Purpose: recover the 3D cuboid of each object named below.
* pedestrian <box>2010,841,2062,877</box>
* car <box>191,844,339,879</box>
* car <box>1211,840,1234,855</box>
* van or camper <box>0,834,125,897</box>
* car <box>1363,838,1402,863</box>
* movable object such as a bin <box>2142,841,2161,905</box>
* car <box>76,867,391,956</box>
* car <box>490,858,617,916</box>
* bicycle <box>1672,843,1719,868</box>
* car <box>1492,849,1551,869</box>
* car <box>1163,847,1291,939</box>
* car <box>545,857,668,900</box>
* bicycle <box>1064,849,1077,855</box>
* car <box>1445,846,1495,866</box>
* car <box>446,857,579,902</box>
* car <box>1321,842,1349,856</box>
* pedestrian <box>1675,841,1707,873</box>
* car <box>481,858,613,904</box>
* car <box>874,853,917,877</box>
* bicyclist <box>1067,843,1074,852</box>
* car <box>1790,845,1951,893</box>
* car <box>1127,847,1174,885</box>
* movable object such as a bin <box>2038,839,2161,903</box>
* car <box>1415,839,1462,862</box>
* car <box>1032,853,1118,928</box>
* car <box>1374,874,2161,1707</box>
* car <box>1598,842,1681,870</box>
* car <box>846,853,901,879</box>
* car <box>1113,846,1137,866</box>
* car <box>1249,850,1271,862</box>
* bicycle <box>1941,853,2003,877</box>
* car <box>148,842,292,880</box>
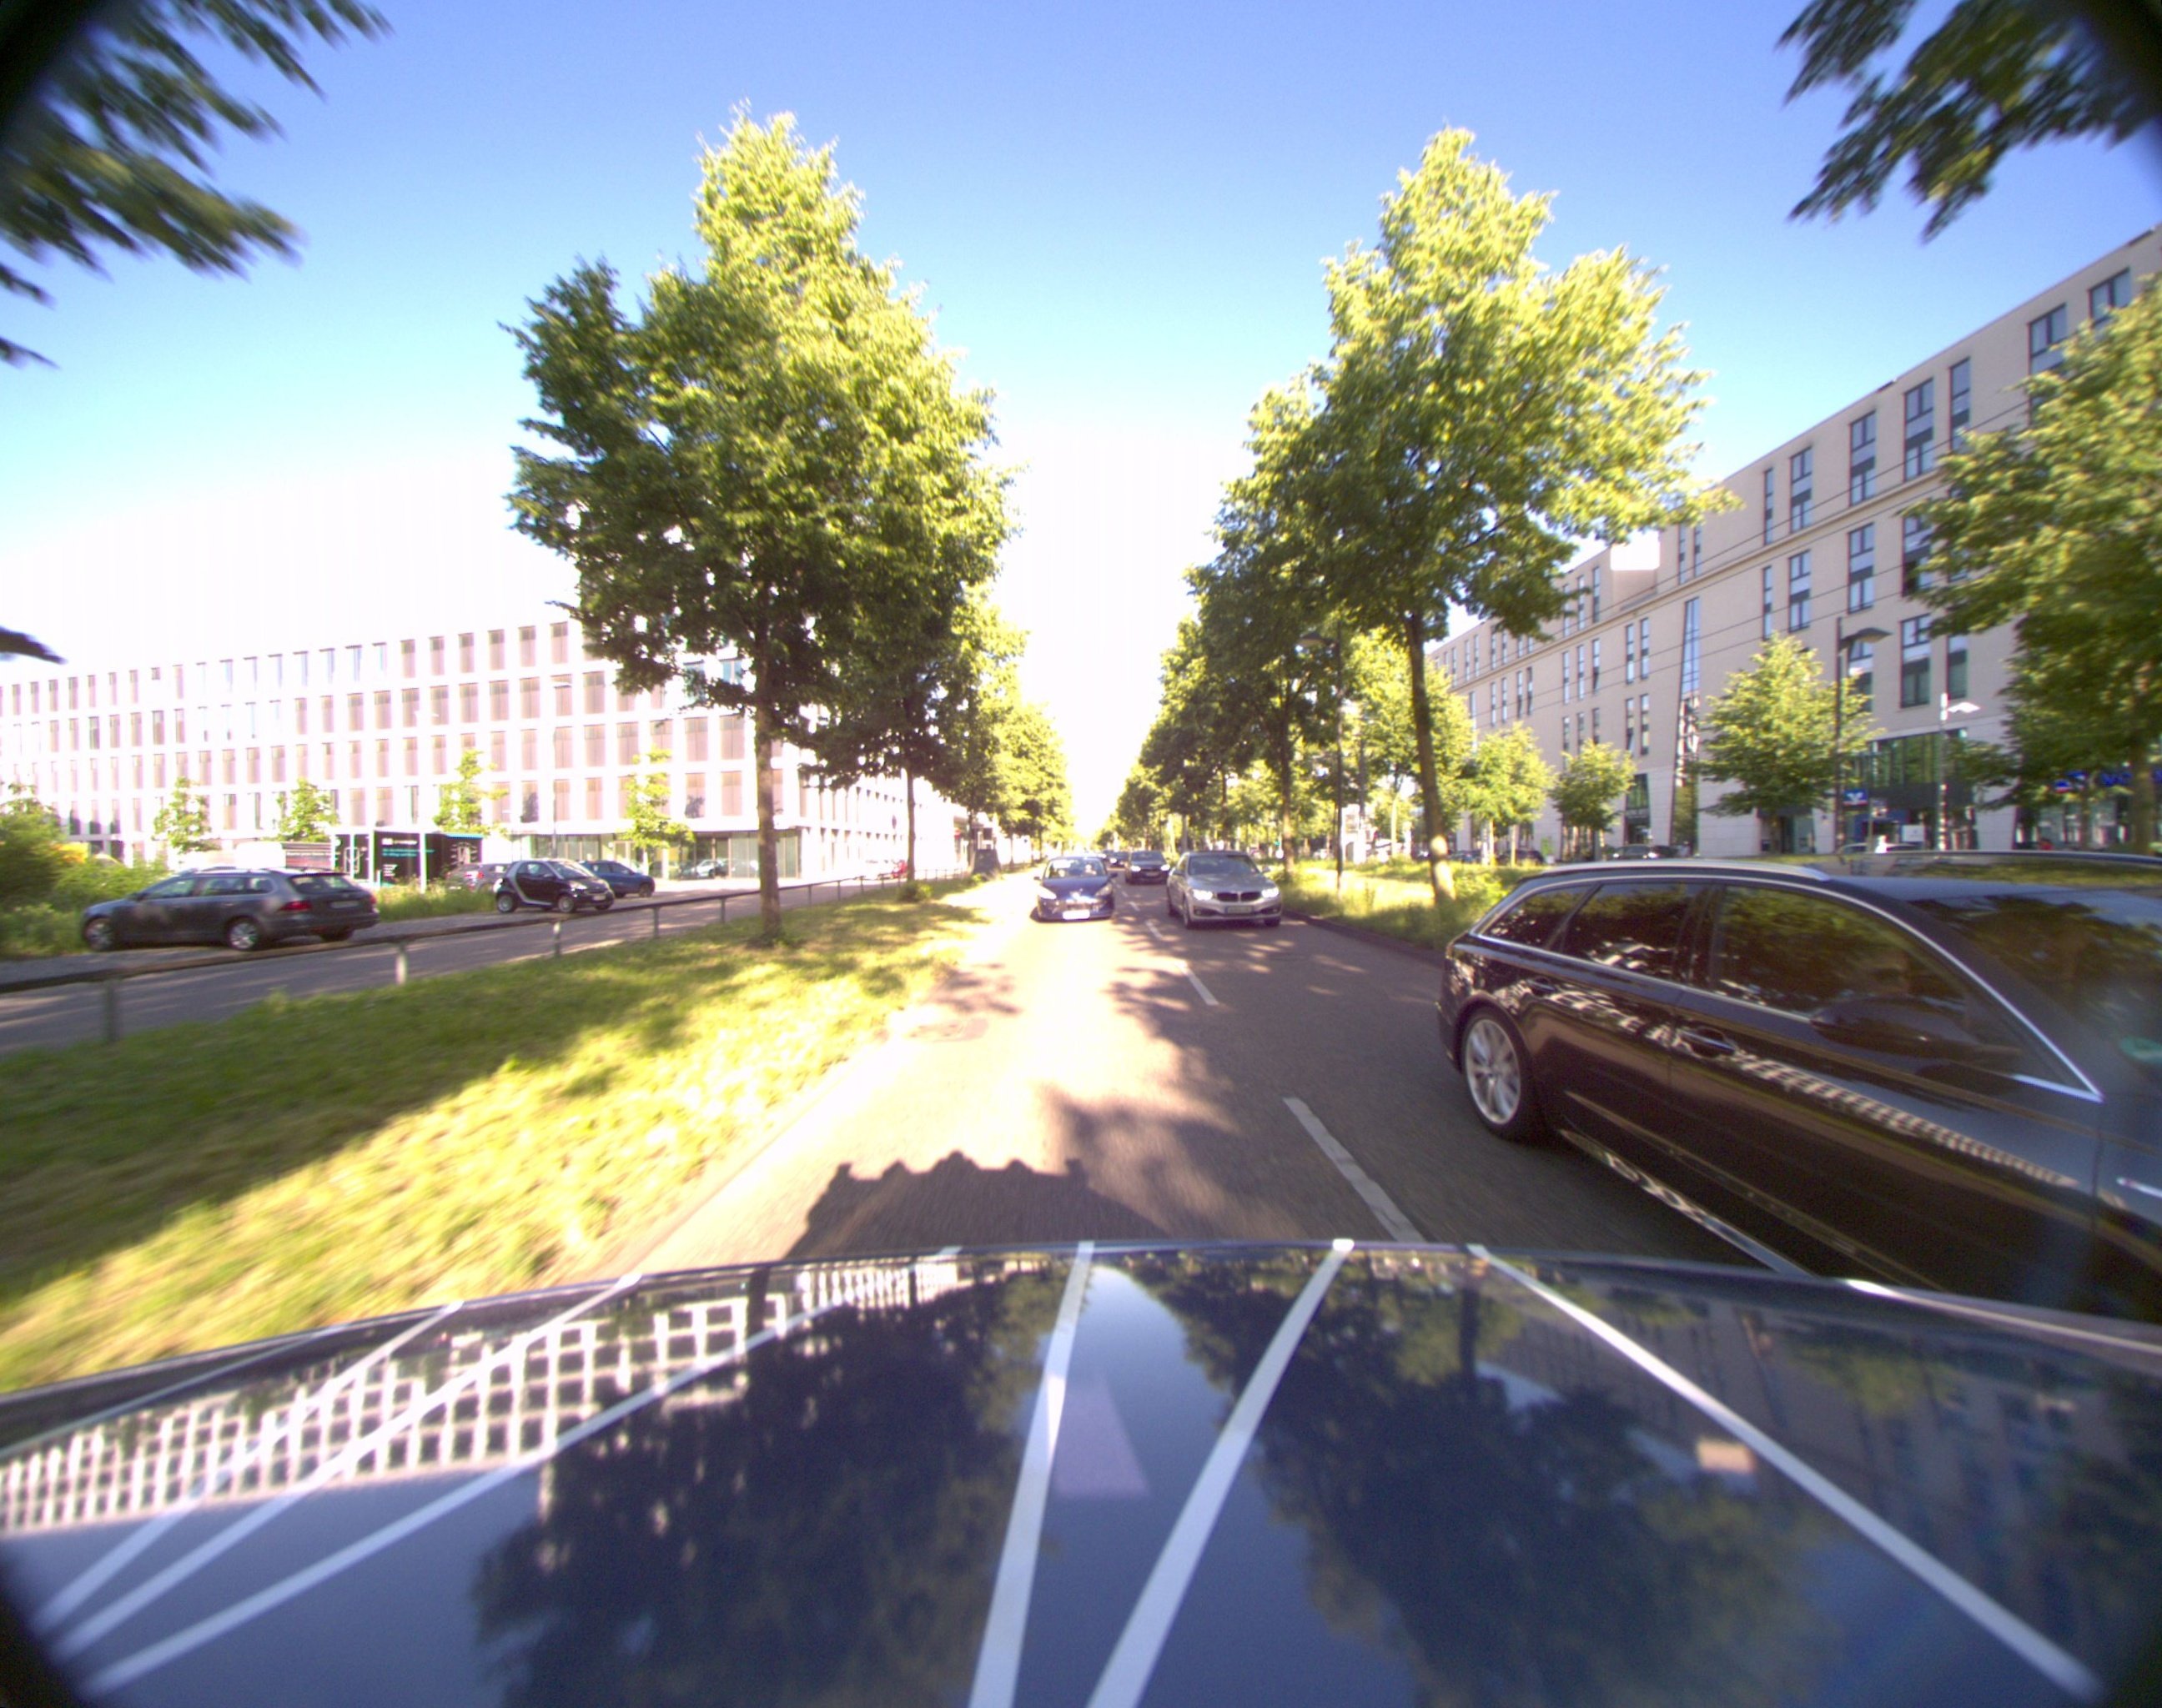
[{"bbox_3d":[40.805,0.195,32.469,0.949,1.459,1.026,-2,1,-8],"label":"pedestrian"},{"bbox_3d":[-37.601,0.358,35.166,1.829,1.465,4.279,-1,-1,17],"label":"car"},{"bbox_3d":[23.791,-1.097,127.877,2.512,2.368,6.027,-2,1,0],"label":"car"},{"bbox_3d":[-49.736,0.542,35.500,1.996,2.875,5.855,-2,1,13],"label":"van or camper"},{"bbox_3d":[26.350,-0.339,66.548,1.998,2.002,4.000,-2,1,4],"label":"car"},{"bbox_3d":[31.254,0.510,20.900,1.975,1.784,1.555,-2,1,-1],"label":"movable object such as a bin"},{"bbox_3d":[-15.782,1.024,14.297,4.089,1.459,1.715,1,1,2],"label":"car"},{"bbox_3d":[-15.202,0.917,21.953,2.770,1.541,1.463,0,2,10],"label":"car"},{"bbox_3d":[38.899,0.060,48.180,0.619,1.537,3.034,-2,1,3],"label":"bicycle"},{"bbox_3d":[32.130,0.330,55.578,1.728,1.405,4.336,-1,0,-2],"label":"car"},{"bbox_3d":[2.880,0.693,15.888,1.886,1.569,4.277,-2,1,1],"label":"car"},{"bbox_3d":[-18.150,0.911,29.257,1.594,1.536,3.826,0,-1,21],"label":"car"},{"bbox_3d":[-1.639,-0.250,115.776,1.927,0.899,0.647,-1,1,4],"label":"bicycle"},{"bbox_3d":[32.330,0.171,63.275,1.999,1.563,3.999,-1,0,-1],"label":"car"},{"bbox_3d":[-22.857,0.991,30.723,1.719,1.531,3.956,-2,1,19],"label":"car"},{"bbox_3d":[34.109,-0.651,102.041,2.106,1.798,4.420,-2,1,-1],"label":"car"},{"bbox_3d":[34.509,0.147,42.994,0.844,1.733,1.223,-2,1,1],"label":"pedestrian"},{"bbox_3d":[-20.814,1.003,29.805,1.748,1.527,3.886,-2,1,19],"label":"car"},{"bbox_3d":[-12.877,0.748,52.962,1.869,1.477,4.272,2,1,1],"label":"car"},{"bbox_3d":[-1.599,-0.941,115.779,1.086,1.315,0.639,-1,1,4],"label":"bicyclist"},{"bbox_3d":[31.941,0.545,30.961,1.999,1.719,4.337,-2,1,-1],"label":"car"},{"bbox_3d":[3.101,0.497,34.705,1.950,1.514,4.000,-2,1,3],"label":"car"},{"bbox_3d":[31.160,0.485,22.958,1.975,1.784,2.010,-2,1,-2],"label":"movable object such as a bin"},{"bbox_3d":[32.223,-0.303,68.630,1.999,2.002,4.553,-1,0,-2],"label":"car"},{"bbox_3d":[-0.048,0.775,18.156,1.766,1.462,4.000,-2,1,2],"label":"car"},{"bbox_3d":[2.907,0.854,2.362,1.958,1.471,5.084,-1,0,-1],"label":"car"},{"bbox_3d":[31.639,0.101,43.194,1.562,1.471,4.271,-2,0,0],"label":"car"},{"bbox_3d":[-13.145,0.707,48.441,1.998,1.477,4.402,2,1,4],"label":"car"},{"bbox_3d":[3.680,0.129,63.850,1.782,1.571,3.783,-2,1,1],"label":"car"},{"bbox_3d":[24.477,0.282,103.944,1.998,1.433,4.455,-2,1,1],"label":"car"},{"bbox_3d":[38.915,0.475,33.226,0.581,0.947,1.848,-2,1,3],"label":"bicycle"},{"bbox_3d":[-40.497,0.336,35.858,1.996,1.608,4.006,-2,-1,17],"label":"car"}]
